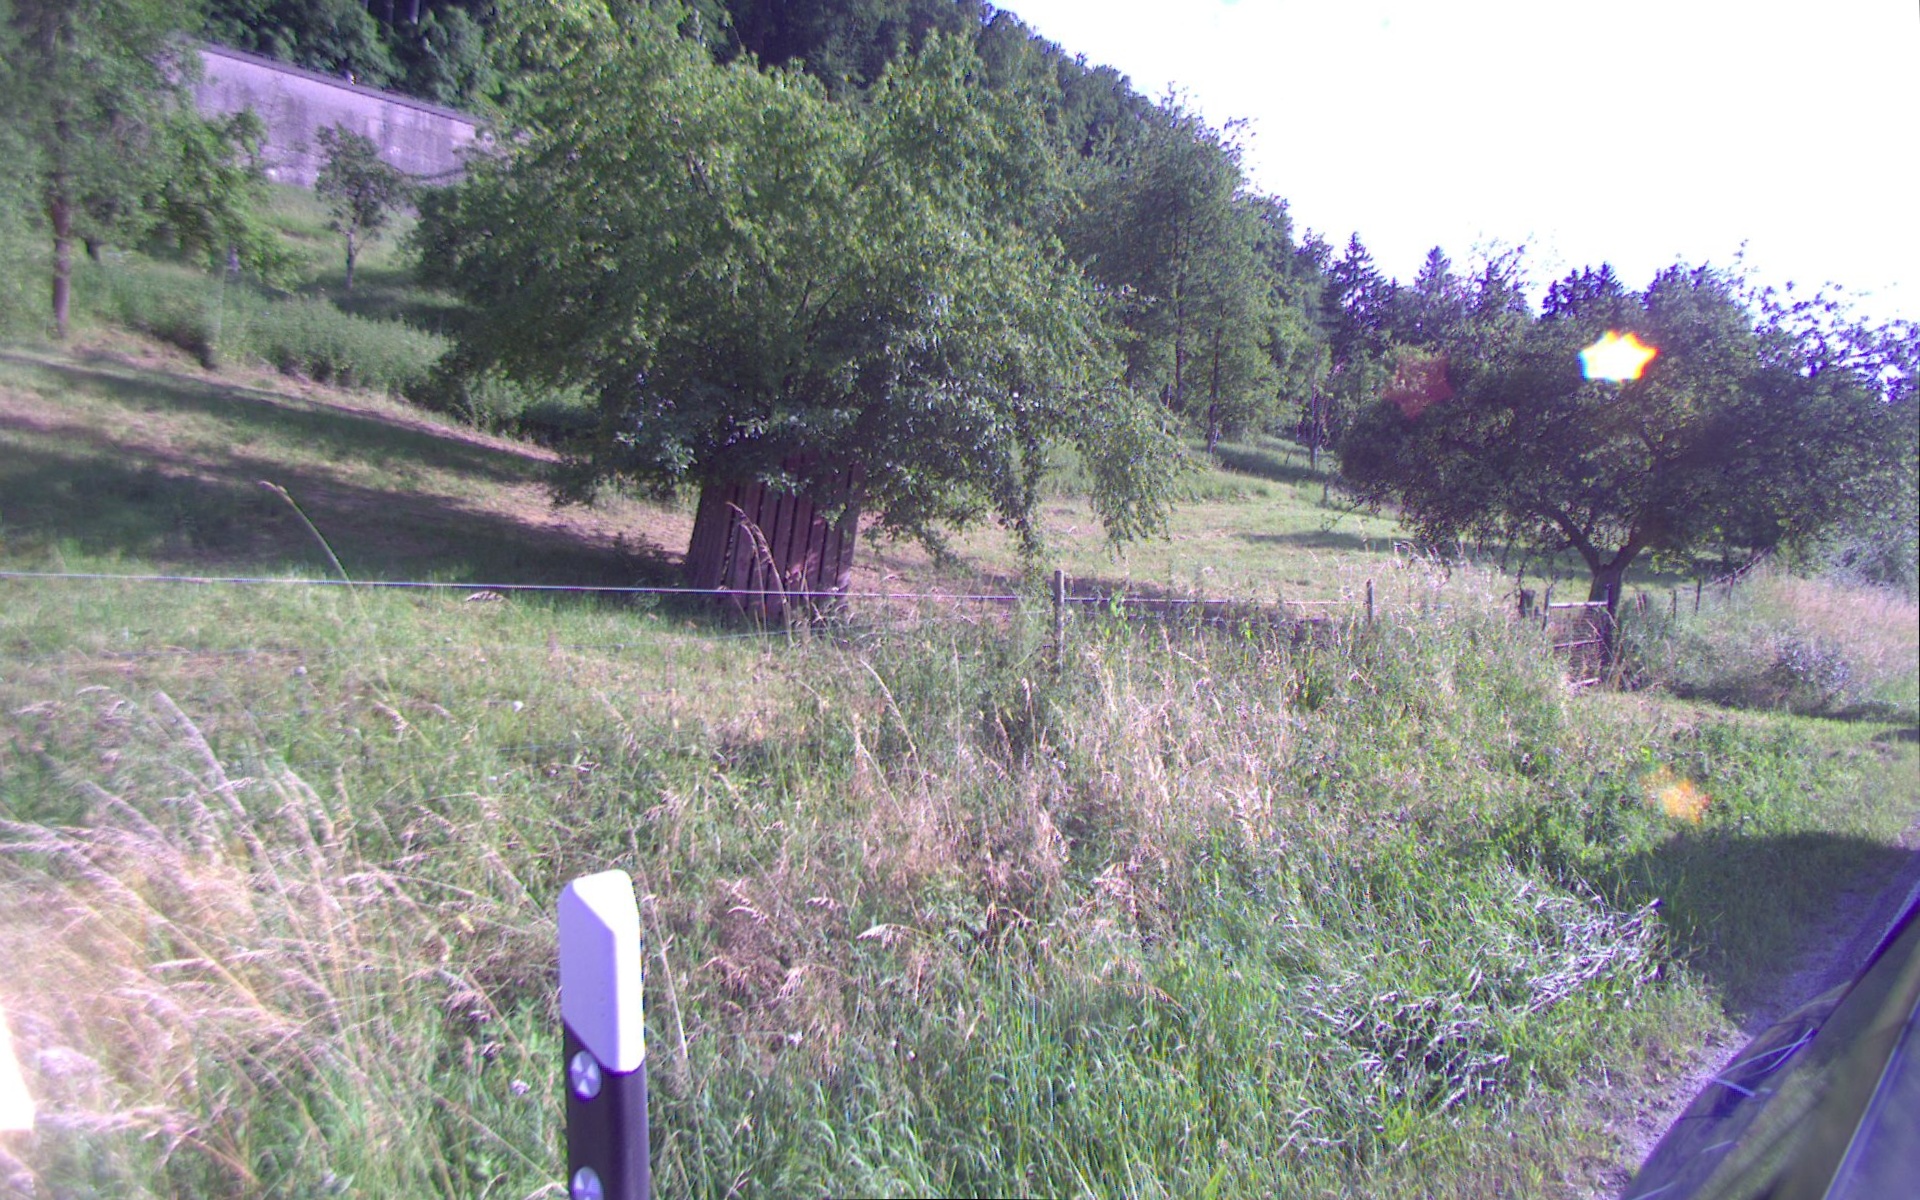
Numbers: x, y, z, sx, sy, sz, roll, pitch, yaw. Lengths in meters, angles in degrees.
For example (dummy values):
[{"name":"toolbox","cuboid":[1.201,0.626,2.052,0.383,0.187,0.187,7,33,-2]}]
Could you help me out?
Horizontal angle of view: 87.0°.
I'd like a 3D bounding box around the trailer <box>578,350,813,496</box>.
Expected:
[{"name":"trailer","cuboid":[-6.462,-4.218,25.189,5.159,2.590,2.155,4,0,-45]}]
